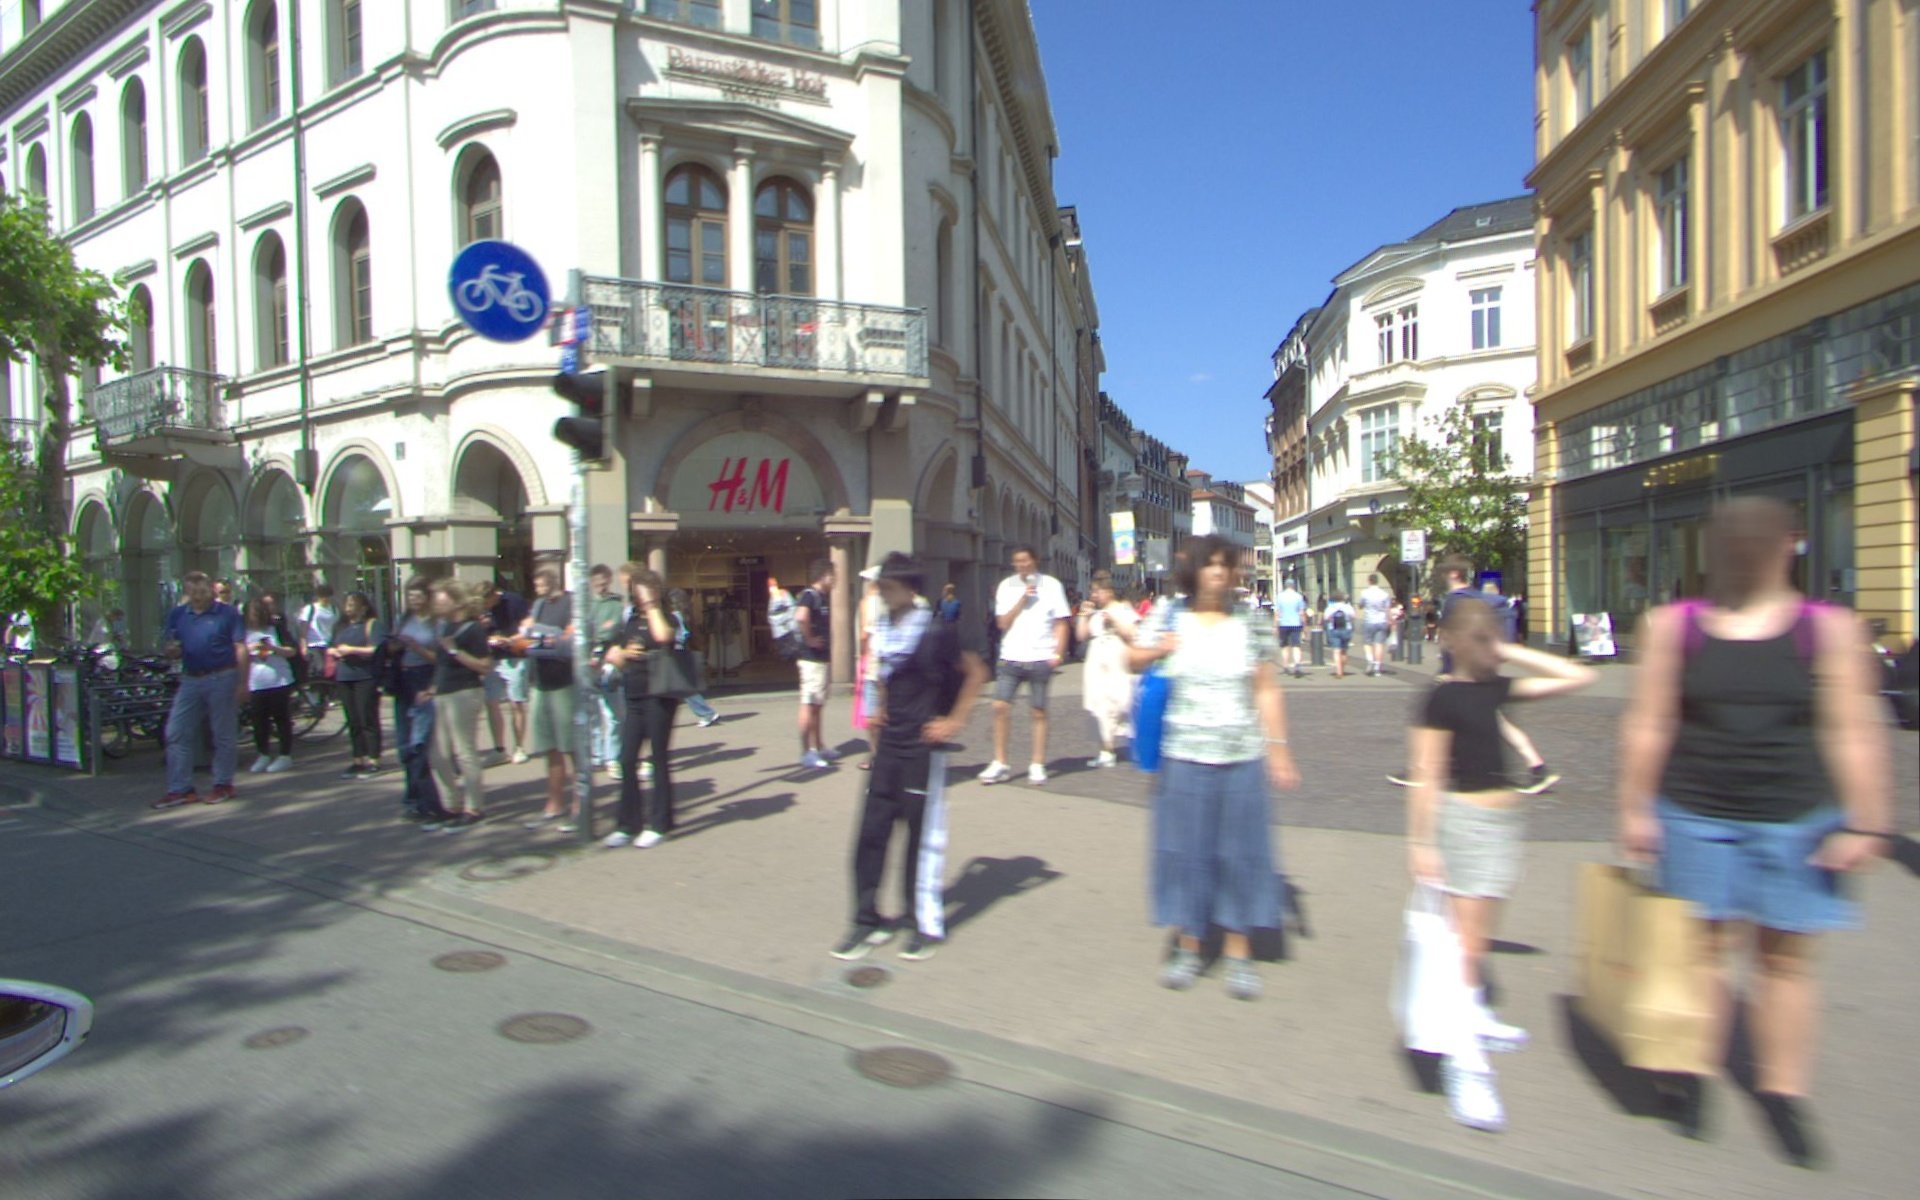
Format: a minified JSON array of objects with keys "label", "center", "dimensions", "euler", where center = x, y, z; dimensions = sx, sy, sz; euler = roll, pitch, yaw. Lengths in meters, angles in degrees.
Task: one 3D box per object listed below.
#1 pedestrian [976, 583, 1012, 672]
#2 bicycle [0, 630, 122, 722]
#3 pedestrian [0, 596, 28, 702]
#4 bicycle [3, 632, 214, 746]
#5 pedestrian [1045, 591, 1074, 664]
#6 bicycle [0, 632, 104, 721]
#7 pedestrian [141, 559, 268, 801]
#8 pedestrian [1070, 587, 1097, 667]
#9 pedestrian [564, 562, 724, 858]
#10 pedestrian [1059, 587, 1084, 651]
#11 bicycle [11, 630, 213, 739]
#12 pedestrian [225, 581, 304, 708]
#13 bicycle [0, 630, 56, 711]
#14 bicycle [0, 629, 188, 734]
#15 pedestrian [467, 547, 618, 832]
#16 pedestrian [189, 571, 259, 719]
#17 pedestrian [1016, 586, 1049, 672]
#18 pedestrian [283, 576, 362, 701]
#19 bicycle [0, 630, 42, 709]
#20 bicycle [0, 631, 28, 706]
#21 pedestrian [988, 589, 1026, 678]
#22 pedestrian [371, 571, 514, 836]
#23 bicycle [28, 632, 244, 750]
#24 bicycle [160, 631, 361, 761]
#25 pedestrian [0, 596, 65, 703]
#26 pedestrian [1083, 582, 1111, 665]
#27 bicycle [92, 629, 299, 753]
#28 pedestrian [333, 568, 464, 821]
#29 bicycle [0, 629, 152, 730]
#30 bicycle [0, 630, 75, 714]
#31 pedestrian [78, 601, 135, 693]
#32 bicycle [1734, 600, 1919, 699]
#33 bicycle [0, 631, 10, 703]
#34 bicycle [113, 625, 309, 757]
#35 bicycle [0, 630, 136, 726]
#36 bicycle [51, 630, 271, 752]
[{"label":"pedestrian","center":[0.652,0.526,19.031],"dimensions":[0.610,1.648,0.578],"euler":[0,-1,8]},{"label":"bicycle","center":[-12.389,0.997,13.385],"dimensions":[0.510,1.162,1.750],"euler":[-1,0,29]},{"label":"pedestrian","center":[-17.826,0.906,18.478],"dimensions":[0.765,1.926,0.700],"euler":[-1,-1,29]},{"label":"bicycle","center":[-9.699,0.970,11.483],"dimensions":[0.583,1.162,1.750],"euler":[-1,0,29]},{"label":"pedestrian","center":[2.274,0.630,22.852],"dimensions":[0.610,1.647,0.578],"euler":[0,-1,8]},{"label":"bicycle","center":[-12.914,1.042,13.683],"dimensions":[0.589,1.162,1.750],"euler":[-1,0,29]},{"label":"pedestrian","center":[-6.152,0.631,8.165],"dimensions":[0.706,1.869,0.576],"euler":[-1,-1,28]},{"label":"pedestrian","center":[2.930,0.640,23.773],"dimensions":[0.610,1.869,0.578],"euler":[0,-1,8]},{"label":"pedestrian","center":[-1.935,0.634,6.161],"dimensions":[0.659,1.707,0.576],"euler":[-1,2,28]},{"label":"pedestrian","center":[2.899,0.503,26.033],"dimensions":[0.610,1.631,0.578],"euler":[0,-1,8]},{"label":"bicycle","center":[-10.107,0.964,12.005],"dimensions":[0.583,1.173,1.750],"euler":[-1,0,29]},{"label":"pedestrian","center":[-9.932,0.633,14.306],"dimensions":[0.742,1.762,0.674],"euler":[-1,-1,29]},{"label":"bicycle","center":[-14.321,1.041,14.484],"dimensions":[0.583,1.162,1.750],"euler":[-1,0,29]},{"label":"bicycle","center":[-10.633,0.953,12.281],"dimensions":[0.583,1.162,1.750],"euler":[-1,0,29]},{"label":"pedestrian","center":[-2.801,0.569,6.745],"dimensions":[0.688,1.809,0.576],"euler":[-1,2,28]},{"label":"pedestrian","center":[-9.812,0.595,13.352],"dimensions":[0.594,1.906,0.544],"euler":[-1,-1,29]},{"label":"pedestrian","center":[1.357,0.542,18.717],"dimensions":[0.580,1.588,0.578],"euler":[0,-1,8]},{"label":"pedestrian","center":[-9.533,0.577,14.980],"dimensions":[0.765,1.805,0.718],"euler":[-1,-1,29]},{"label":"bicycle","center":[-14.847,1.052,14.818],"dimensions":[0.583,1.162,1.750],"euler":[-1,0,29]},{"label":"bicycle","center":[-15.405,1.066,15.185],"dimensions":[0.583,1.162,1.750],"euler":[-1,0,29]},{"label":"pedestrian","center":[0.823,0.590,17.578],"dimensions":[0.610,1.531,0.578],"euler":[0,-1,8]},{"label":"pedestrian","center":[-3.511,0.666,6.811],"dimensions":[0.582,1.707,0.566],"euler":[-1,2,28]},{"label":"bicycle","center":[-9.096,0.959,11.138],"dimensions":[0.583,1.162,1.750],"euler":[-1,0,29]},{"label":"bicycle","center":[-6.987,0.914,10.086],"dimensions":[0.419,1.162,1.626],"euler":[-1,0,30]},{"label":"pedestrian","center":[-16.165,0.859,17.442],"dimensions":[0.765,1.816,0.633],"euler":[-1,-1,29]},{"label":"pedestrian","center":[3.123,0.546,22.820],"dimensions":[0.610,1.869,0.578],"euler":[0,-1,8]},{"label":"bicycle","center":[-7.970,0.904,10.526],"dimensions":[0.515,1.162,1.654],"euler":[-1,0,29]},{"label":"pedestrian","center":[-4.012,0.653,7.168],"dimensions":[0.612,1.706,0.576],"euler":[-1,-1,28]},{"label":"bicycle","center":[-11.329,0.968,12.561],"dimensions":[0.583,1.162,1.750],"euler":[-1,0,29]},{"label":"bicycle","center":[-13.729,1.026,14.130],"dimensions":[0.583,1.162,1.750],"euler":[-1,0,29]},{"label":"pedestrian","center":[-16.293,0.889,19.124],"dimensions":[0.667,1.718,0.655],"euler":[-1,-1,33]},{"label":"bicycle","center":[11.286,0.631,13.052],"dimensions":[0.767,1.166,2.420],"euler":[0,-2,7]},{"label":"bicycle","center":[-16.023,1.080,15.550],"dimensions":[0.583,1.162,1.750],"euler":[-1,0,29]},{"label":"bicycle","center":[-7.527,0.871,10.131],"dimensions":[0.419,1.213,1.526],"euler":[-1,0,31]},{"label":"bicycle","center":[-11.897,0.992,13.003],"dimensions":[0.583,1.162,1.750],"euler":[-1,0,29]},{"label":"bicycle","center":[-8.525,0.922,10.773],"dimensions":[0.583,1.162,1.750],"euler":[-1,0,29]}]
